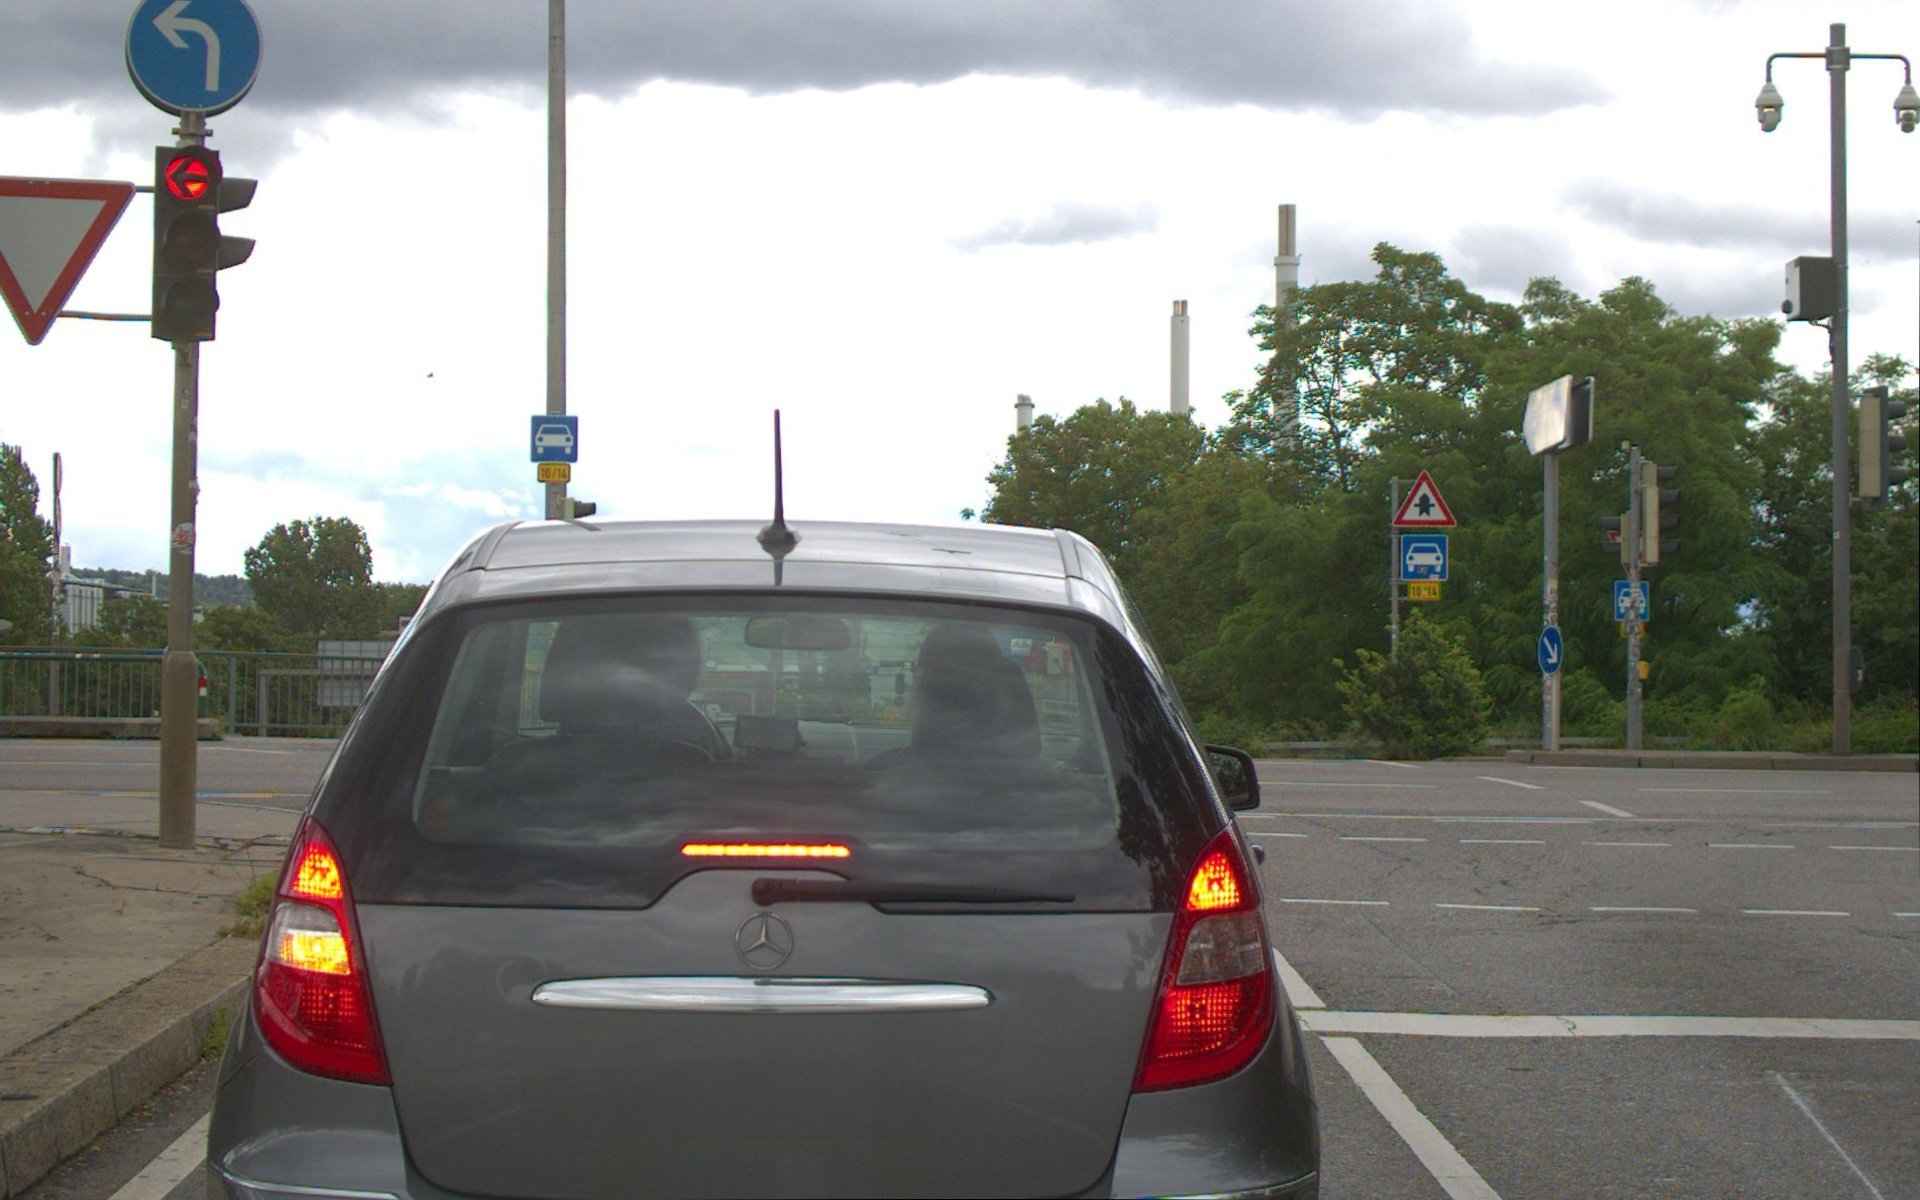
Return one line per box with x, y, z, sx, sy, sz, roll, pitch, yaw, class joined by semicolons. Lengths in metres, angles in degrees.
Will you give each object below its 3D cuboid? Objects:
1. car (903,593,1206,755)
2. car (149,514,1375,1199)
1.526;1.313;60.623;2.438;2.672;7.765;0;-2;-22;car
-0.301;0.640;6.689;1.739;1.538;3.541;1;1;0;car
